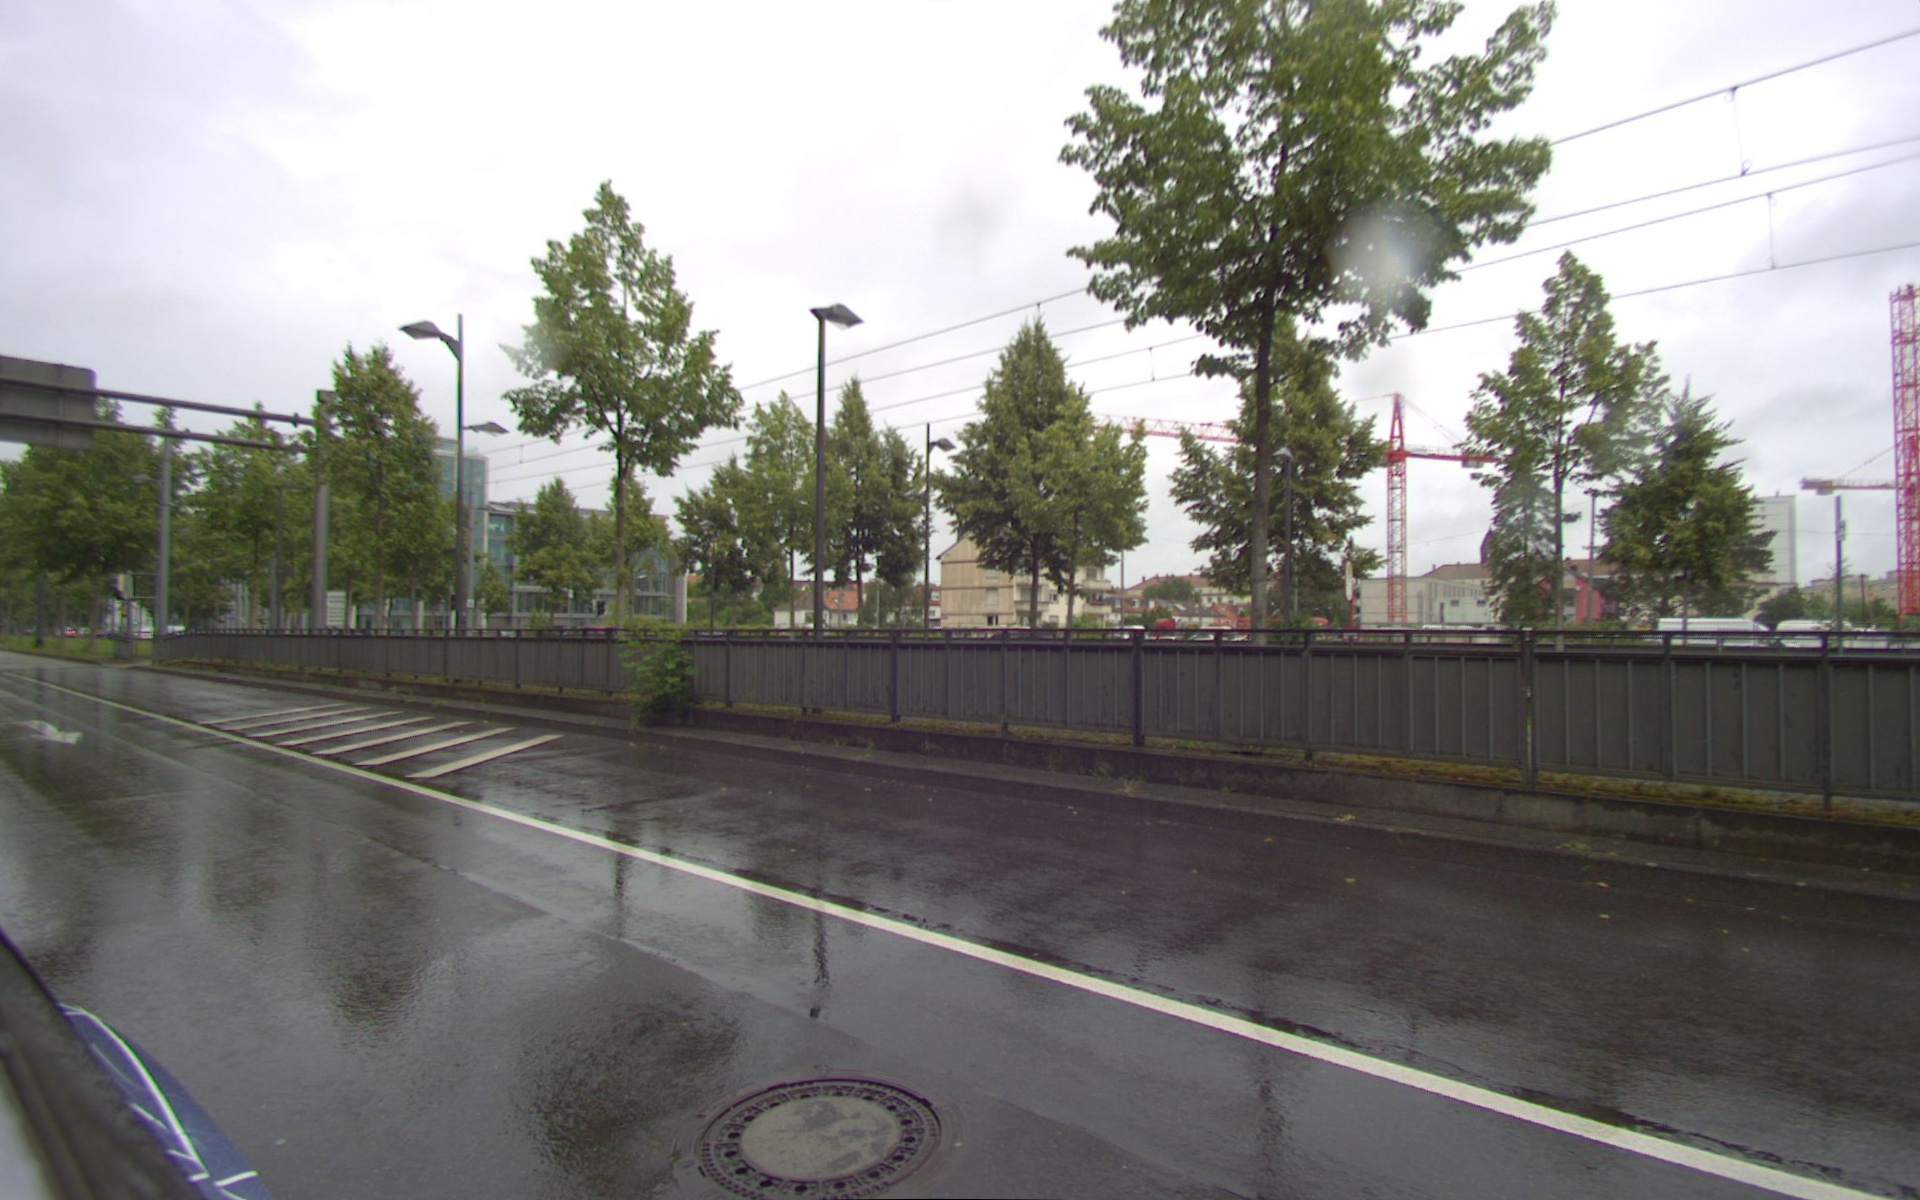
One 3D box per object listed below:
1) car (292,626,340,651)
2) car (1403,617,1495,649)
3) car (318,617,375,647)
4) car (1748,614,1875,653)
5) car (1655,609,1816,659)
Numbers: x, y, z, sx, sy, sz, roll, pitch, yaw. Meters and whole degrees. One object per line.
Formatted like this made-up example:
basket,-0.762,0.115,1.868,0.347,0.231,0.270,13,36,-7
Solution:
car,-49.402,2.913,77.612,3.997,1.759,1.973,-1,0,40
car,37.348,2.528,77.416,6.127,2.323,1.977,-1,0,34
car,-39.073,2.015,64.433,3.997,1.759,1.973,-1,0,40
car,48.184,1.866,57.448,5.415,2.067,1.974,-1,0,38
car,41.651,1.780,54.571,6.739,2.480,1.974,-1,0,39
